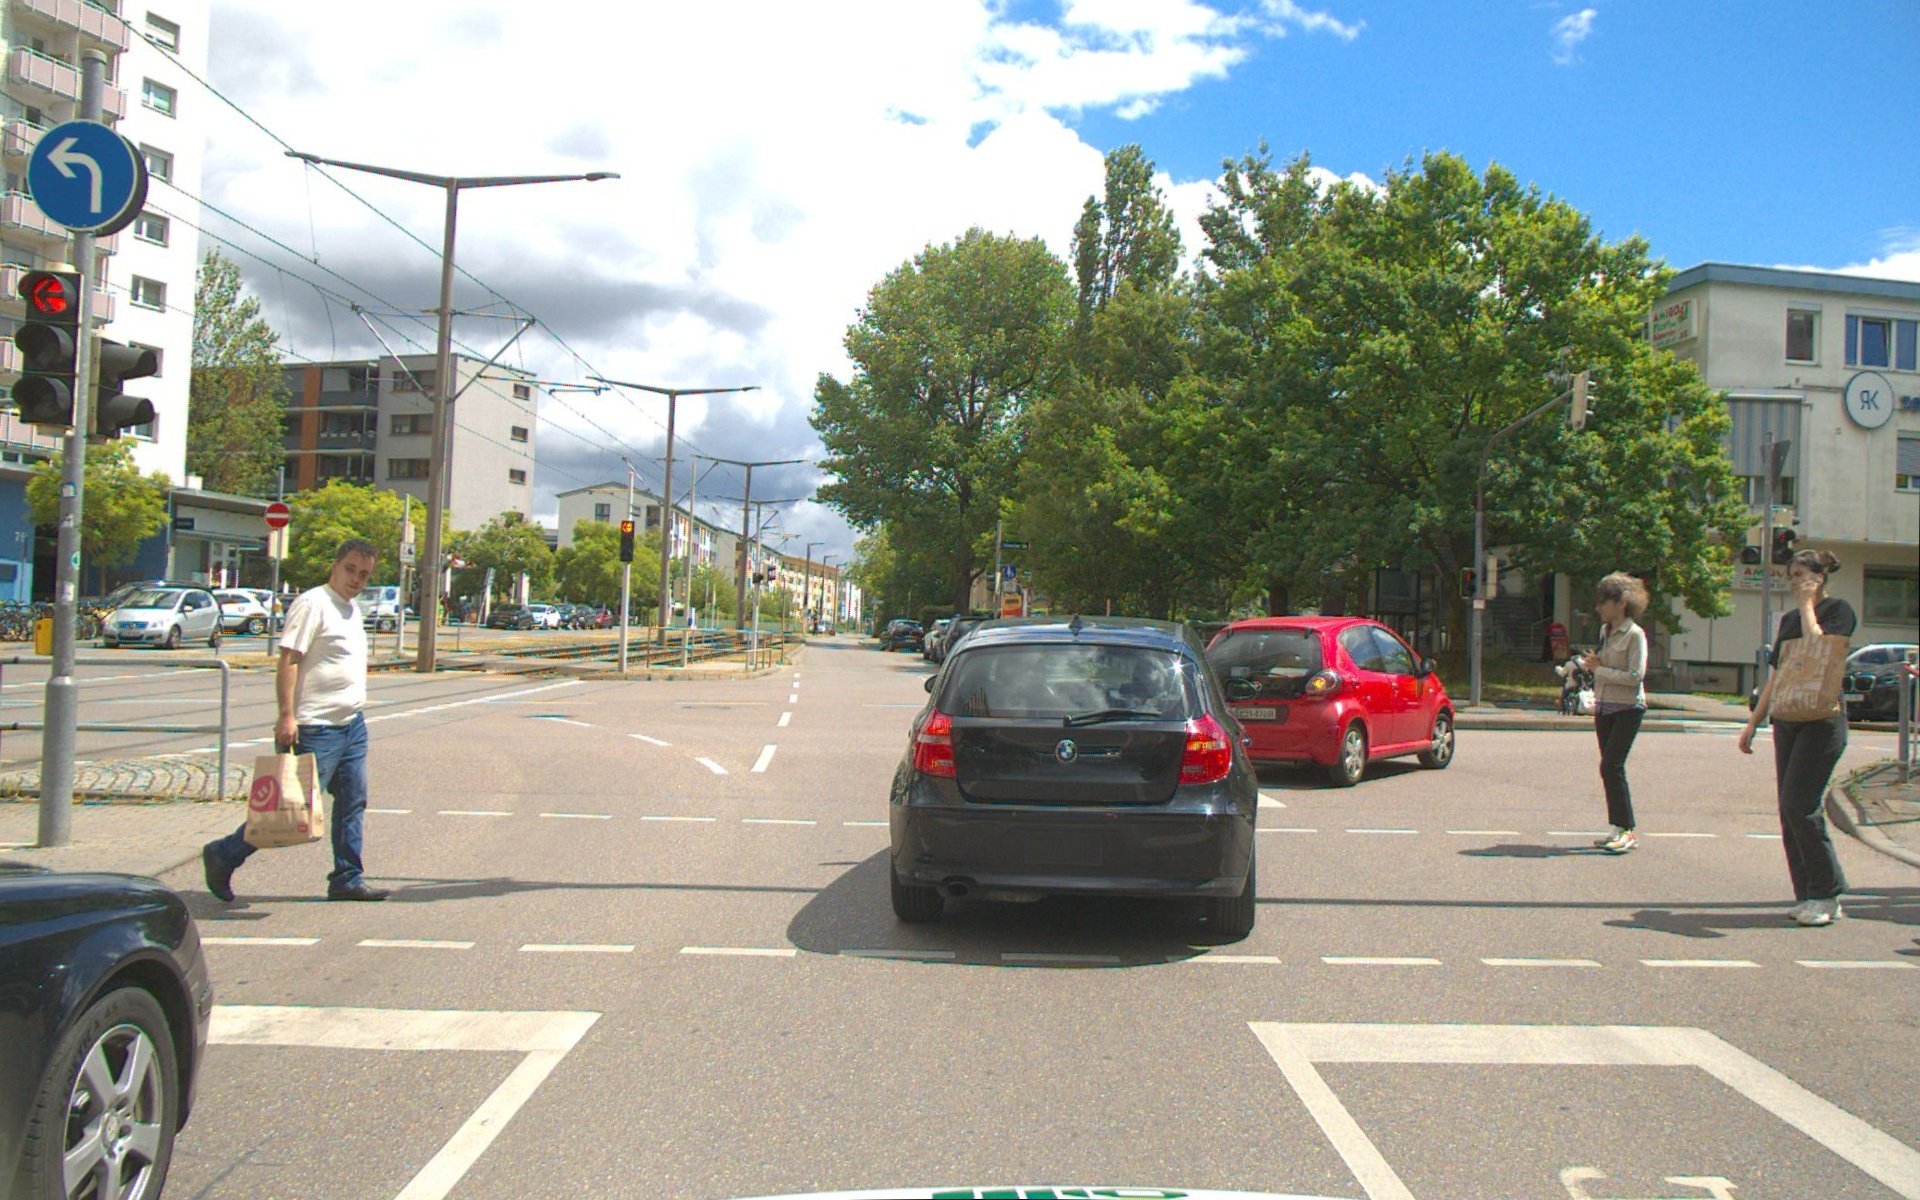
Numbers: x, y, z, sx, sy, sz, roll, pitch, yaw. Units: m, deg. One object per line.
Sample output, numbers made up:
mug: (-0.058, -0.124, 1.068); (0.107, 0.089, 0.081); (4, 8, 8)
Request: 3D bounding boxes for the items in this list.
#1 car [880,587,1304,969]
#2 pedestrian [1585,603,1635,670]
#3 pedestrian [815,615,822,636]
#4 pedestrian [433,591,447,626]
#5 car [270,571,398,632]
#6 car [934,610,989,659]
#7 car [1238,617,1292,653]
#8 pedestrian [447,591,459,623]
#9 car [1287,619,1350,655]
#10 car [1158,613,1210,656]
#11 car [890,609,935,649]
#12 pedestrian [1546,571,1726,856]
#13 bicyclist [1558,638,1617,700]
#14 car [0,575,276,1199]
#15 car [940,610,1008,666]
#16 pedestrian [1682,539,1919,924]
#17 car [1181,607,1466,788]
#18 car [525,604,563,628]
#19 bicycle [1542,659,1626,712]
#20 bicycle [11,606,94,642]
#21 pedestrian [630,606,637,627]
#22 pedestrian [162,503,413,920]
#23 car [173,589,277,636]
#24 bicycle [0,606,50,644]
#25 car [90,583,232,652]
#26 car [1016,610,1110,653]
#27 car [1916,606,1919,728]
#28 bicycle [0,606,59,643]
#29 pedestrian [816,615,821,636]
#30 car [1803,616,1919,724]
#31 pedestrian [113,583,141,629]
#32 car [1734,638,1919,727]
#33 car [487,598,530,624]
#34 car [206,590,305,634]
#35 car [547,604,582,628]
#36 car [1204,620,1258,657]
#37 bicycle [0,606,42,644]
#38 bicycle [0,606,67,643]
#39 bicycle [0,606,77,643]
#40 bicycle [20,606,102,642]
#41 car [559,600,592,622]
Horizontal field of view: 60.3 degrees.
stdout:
car: (0.768, 0.727, 8.828); (1.715, 1.513, 4.003); (1, 0, 7)
pedestrian: (16.678, 0.923, 42.448); (0.756, 1.672, 0.903); (2, 0, -16)
pedestrian: (-11.289, 1.997, 131.783); (0.469, 1.665, 0.454); (1, 0, -2)
pedestrian: (-26.584, 0.437, 84.589); (0.537, 1.746, 0.667); (1, 0, -10)
car: (-27.029, 0.039, 71.250); (2.810, 2.522, 6.615); (1, 0, -43)
car: (0.028, 1.290, 61.318); (1.953, 1.713, 3.999); (1, -1, -1)
car: (14.505, 1.657, 78.930); (1.598, 1.623, 3.997); (1, 0, -4)
pedestrian: (-28.237, 0.392, 92.133); (0.537, 1.746, 0.404); (1, 0, -11)
car: (17.137, 1.757, 79.260); (1.698, 1.623, 3.993); (1, 0, -8)
car: (10.361, 1.573, 76.688); (1.598, 1.842, 4.029); (1, 0, -3)
car: (-2.187, 1.314, 76.537); (1.953, 1.713, 3.999); (1, 0, -1)
pedestrian: (4.227, 0.677, 10.415); (0.932, 1.703, 0.871); (0, 0, 14)
bicyclist: (11.101, 1.215, 29.291); (0.775, 1.040, 0.636); (2, 0, -1)
car: (-2.584, 0.677, 1.916); (1.693, 1.487, 4.543); (1, 0, -1)
car: (0.418, 1.223, 53.876); (2.108, 1.713, 3.999); (1, -1, -1)
pedestrian: (4.222, 0.614, 8.184); (0.917, 1.796, 0.770); (0, 0, -12)
car: (3.485, 0.830, 15.510); (1.515, 1.466, 3.185); (1, 0, 34)
car: (-25.228, 0.962, 100.307); (1.728, 1.419, 3.994); (1, 0, -7)
bicycle: (11.092, 1.508, 29.451); (0.775, 0.833, 1.807); (2, 0, -1)
bicycle: (-24.621, 0.652, 44.892); (1.909, 0.951, 0.494); (1, -1, -7)
pedestrian: (-26.208, 1.306, 132.731); (0.444, 1.665, 0.480); (2, 0, -3)
pedestrian: (-3.114, 0.500, 7.734); (0.851, 1.839, 0.741); (1, 0, -5)
car: (-26.564, 0.455, 59.750); (4.144, 1.597, 1.949); (1, 0, 43)
bicycle: (-24.657, 0.638, 42.747); (1.909, 0.951, 0.494); (1, -1, -7)
car: (-21.278, 0.440, 44.203); (1.897, 1.722, 3.872); (1, 0, -1)
car: (4.704, 1.435, 75.440); (3.933, 1.855, 1.766); (1, 0, -23)
car: (14.868, 0.910, 21.236); (4.432, 1.581, 1.992); (1, -1, -16)
bicycle: (-24.702, 0.640, 43.252); (1.909, 0.951, 0.494); (1, -1, -7)
pedestrian: (-11.269, 2.048, 131.609); (0.328, 1.656, 0.356); (1, 0, -18)
car: (17.167, 1.198, 28.381); (4.472, 1.747, 1.997); (1, 0, -8)
pedestrian: (-30.166, 0.206, 59.869); (0.755, 1.643, 0.695); (1, 0, -17)
car: (17.348, 1.589, 32.047); (3.837, 1.583, 1.994); (1, 0, -12)
car: (-25.296, 0.596, 92.765); (1.728, 1.419, 3.994); (1, 0, -7)
car: (-26.848, 0.437, 62.978); (4.144, 1.564, 1.949); (1, 0, 43)
car: (-25.504, 1.020, 106.870); (1.728, 1.419, 3.994); (1, 0, -7)
car: (12.644, 1.767, 77.407); (1.598, 1.600, 4.029); (1, 0, -3)
bicycle: (-24.609, 0.636, 42.282); (1.909, 0.951, 0.494); (1, -1, -7)
bicycle: (-24.746, 0.642, 43.727); (1.909, 0.951, 0.494); (1, -1, -7)
bicycle: (-24.756, 0.646, 44.273); (1.909, 0.951, 0.494); (1, -1, -7)
bicycle: (-24.661, 0.654, 45.382); (1.909, 0.951, 0.494); (1, -1, -7)
car: (-25.900, 0.752, 111.449); (1.728, 1.419, 3.994); (1, 0, -7)
